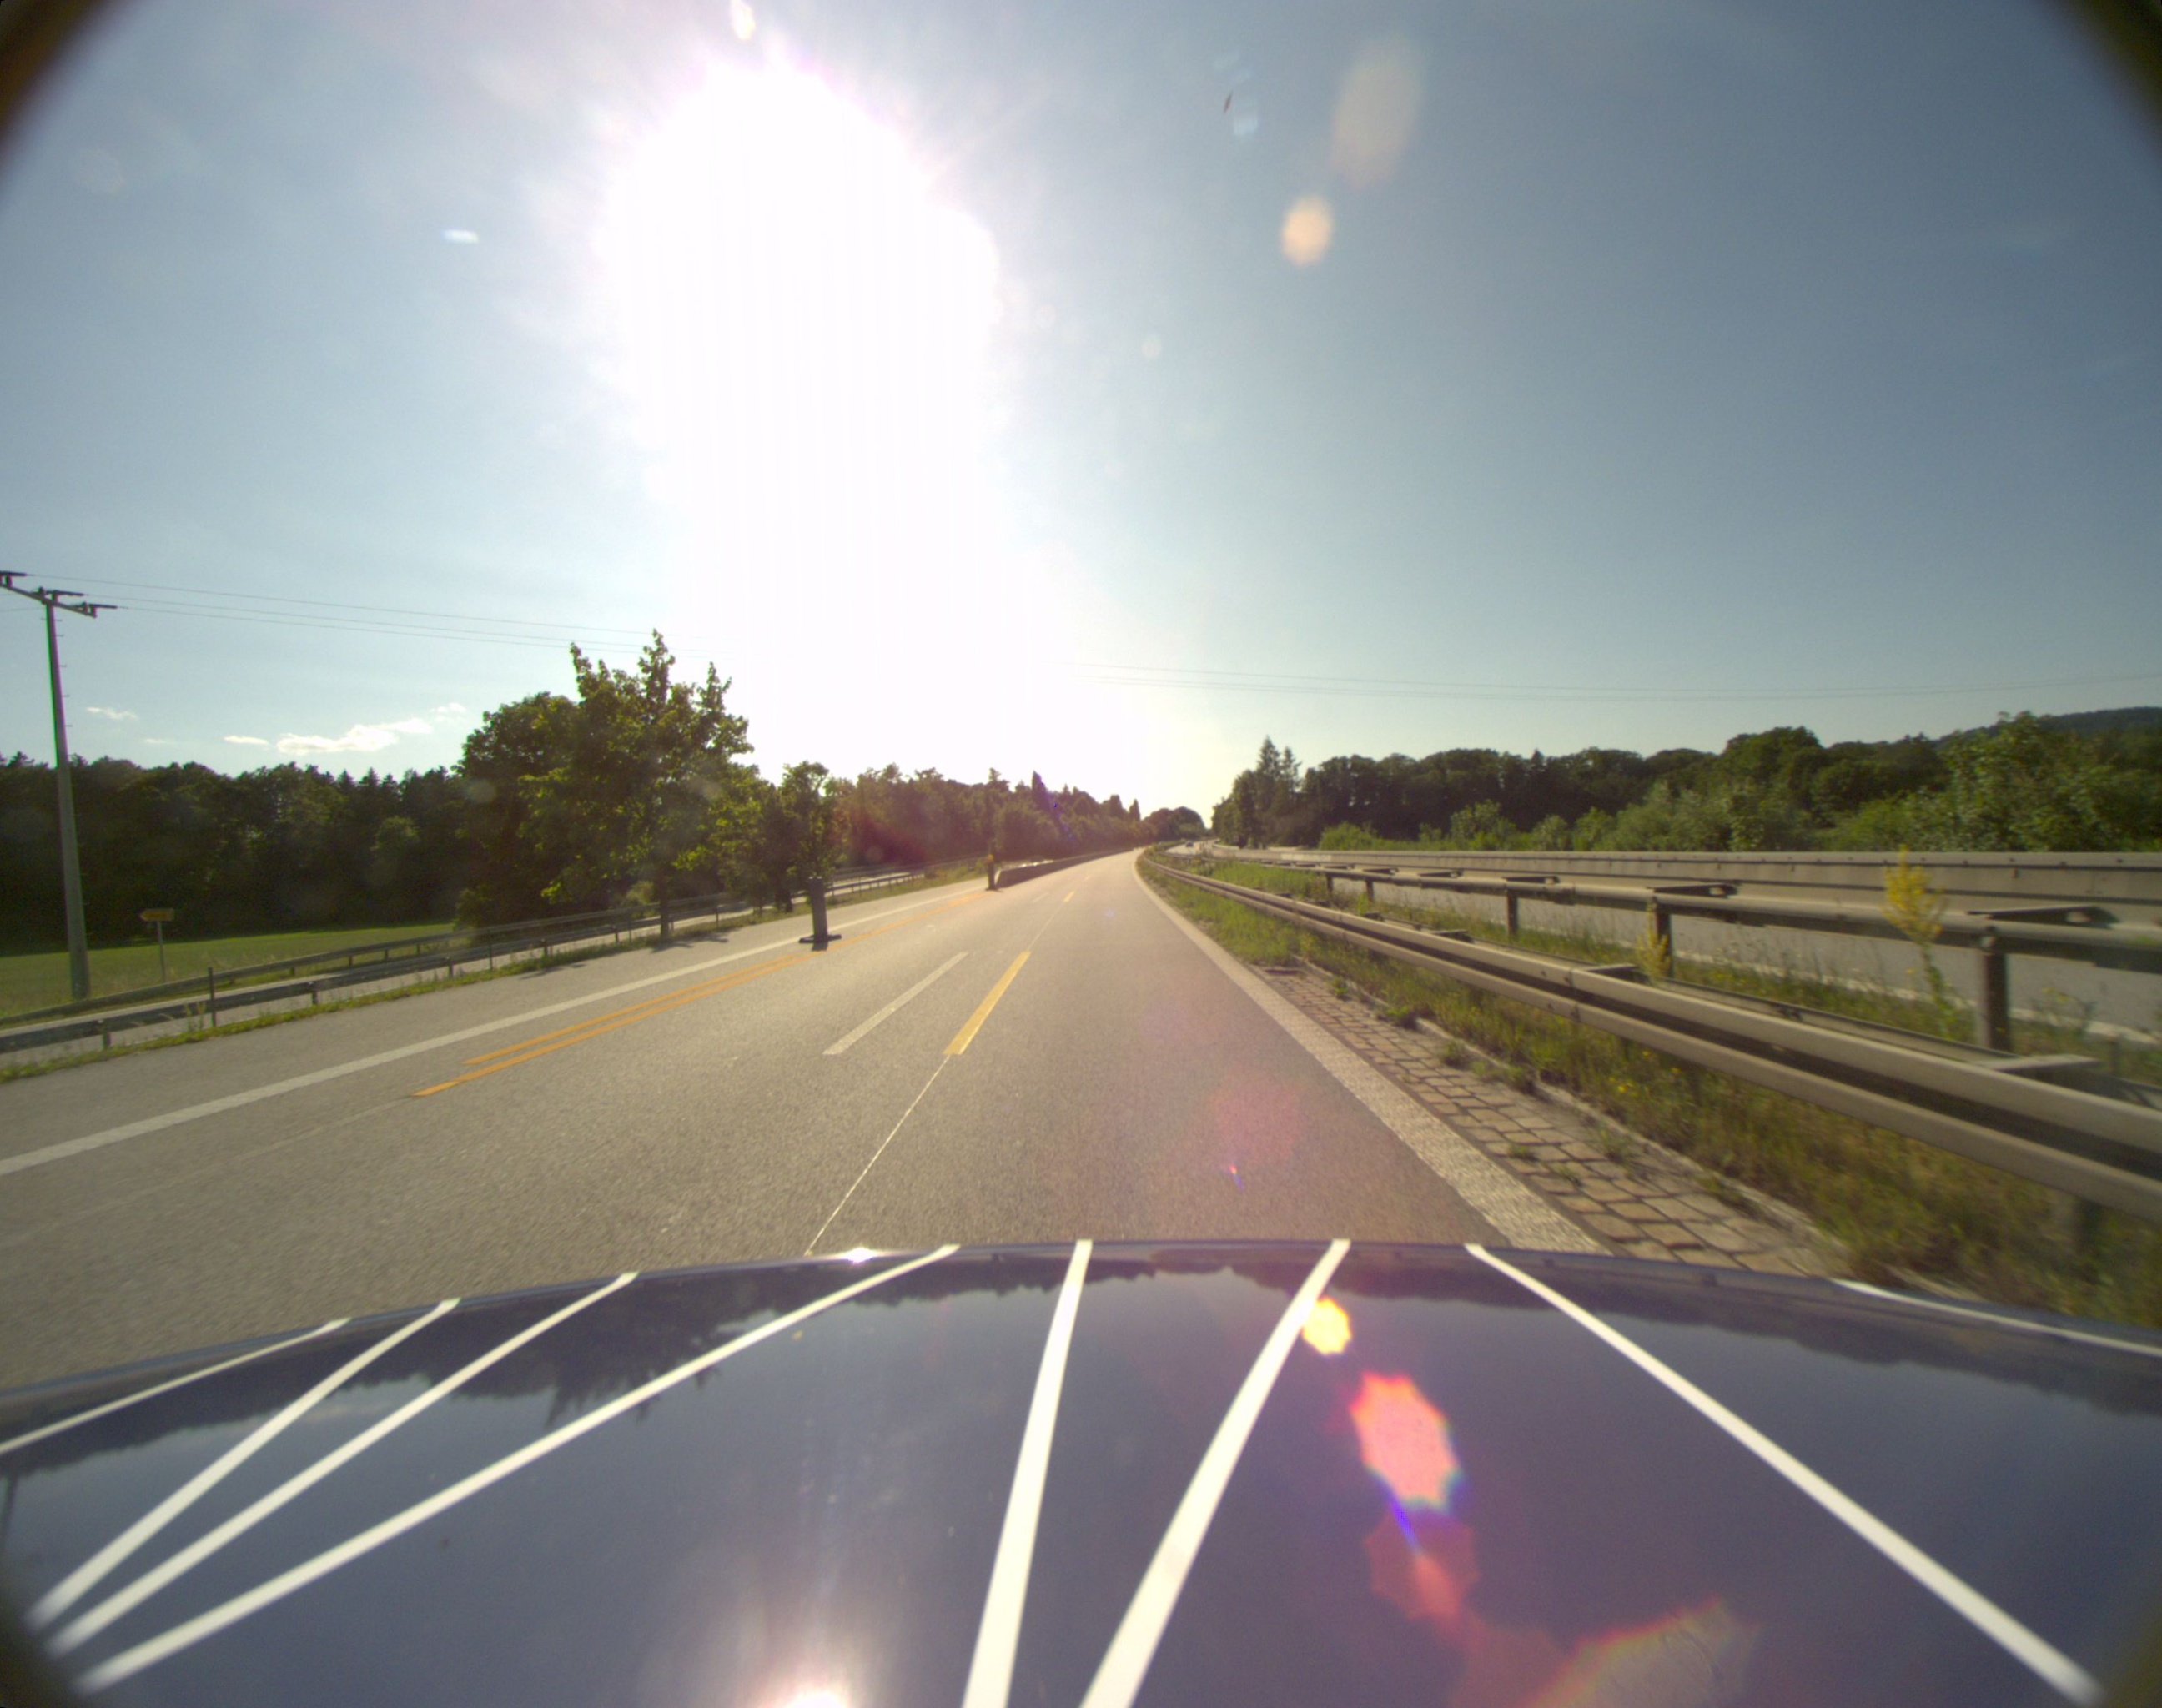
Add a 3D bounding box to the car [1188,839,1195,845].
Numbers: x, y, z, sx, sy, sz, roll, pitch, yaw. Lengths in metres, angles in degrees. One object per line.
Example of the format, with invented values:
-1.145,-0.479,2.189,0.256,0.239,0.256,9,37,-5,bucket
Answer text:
27.667,-3.037,189.713,1.763,1.503,4.536,-2,2,9,car
